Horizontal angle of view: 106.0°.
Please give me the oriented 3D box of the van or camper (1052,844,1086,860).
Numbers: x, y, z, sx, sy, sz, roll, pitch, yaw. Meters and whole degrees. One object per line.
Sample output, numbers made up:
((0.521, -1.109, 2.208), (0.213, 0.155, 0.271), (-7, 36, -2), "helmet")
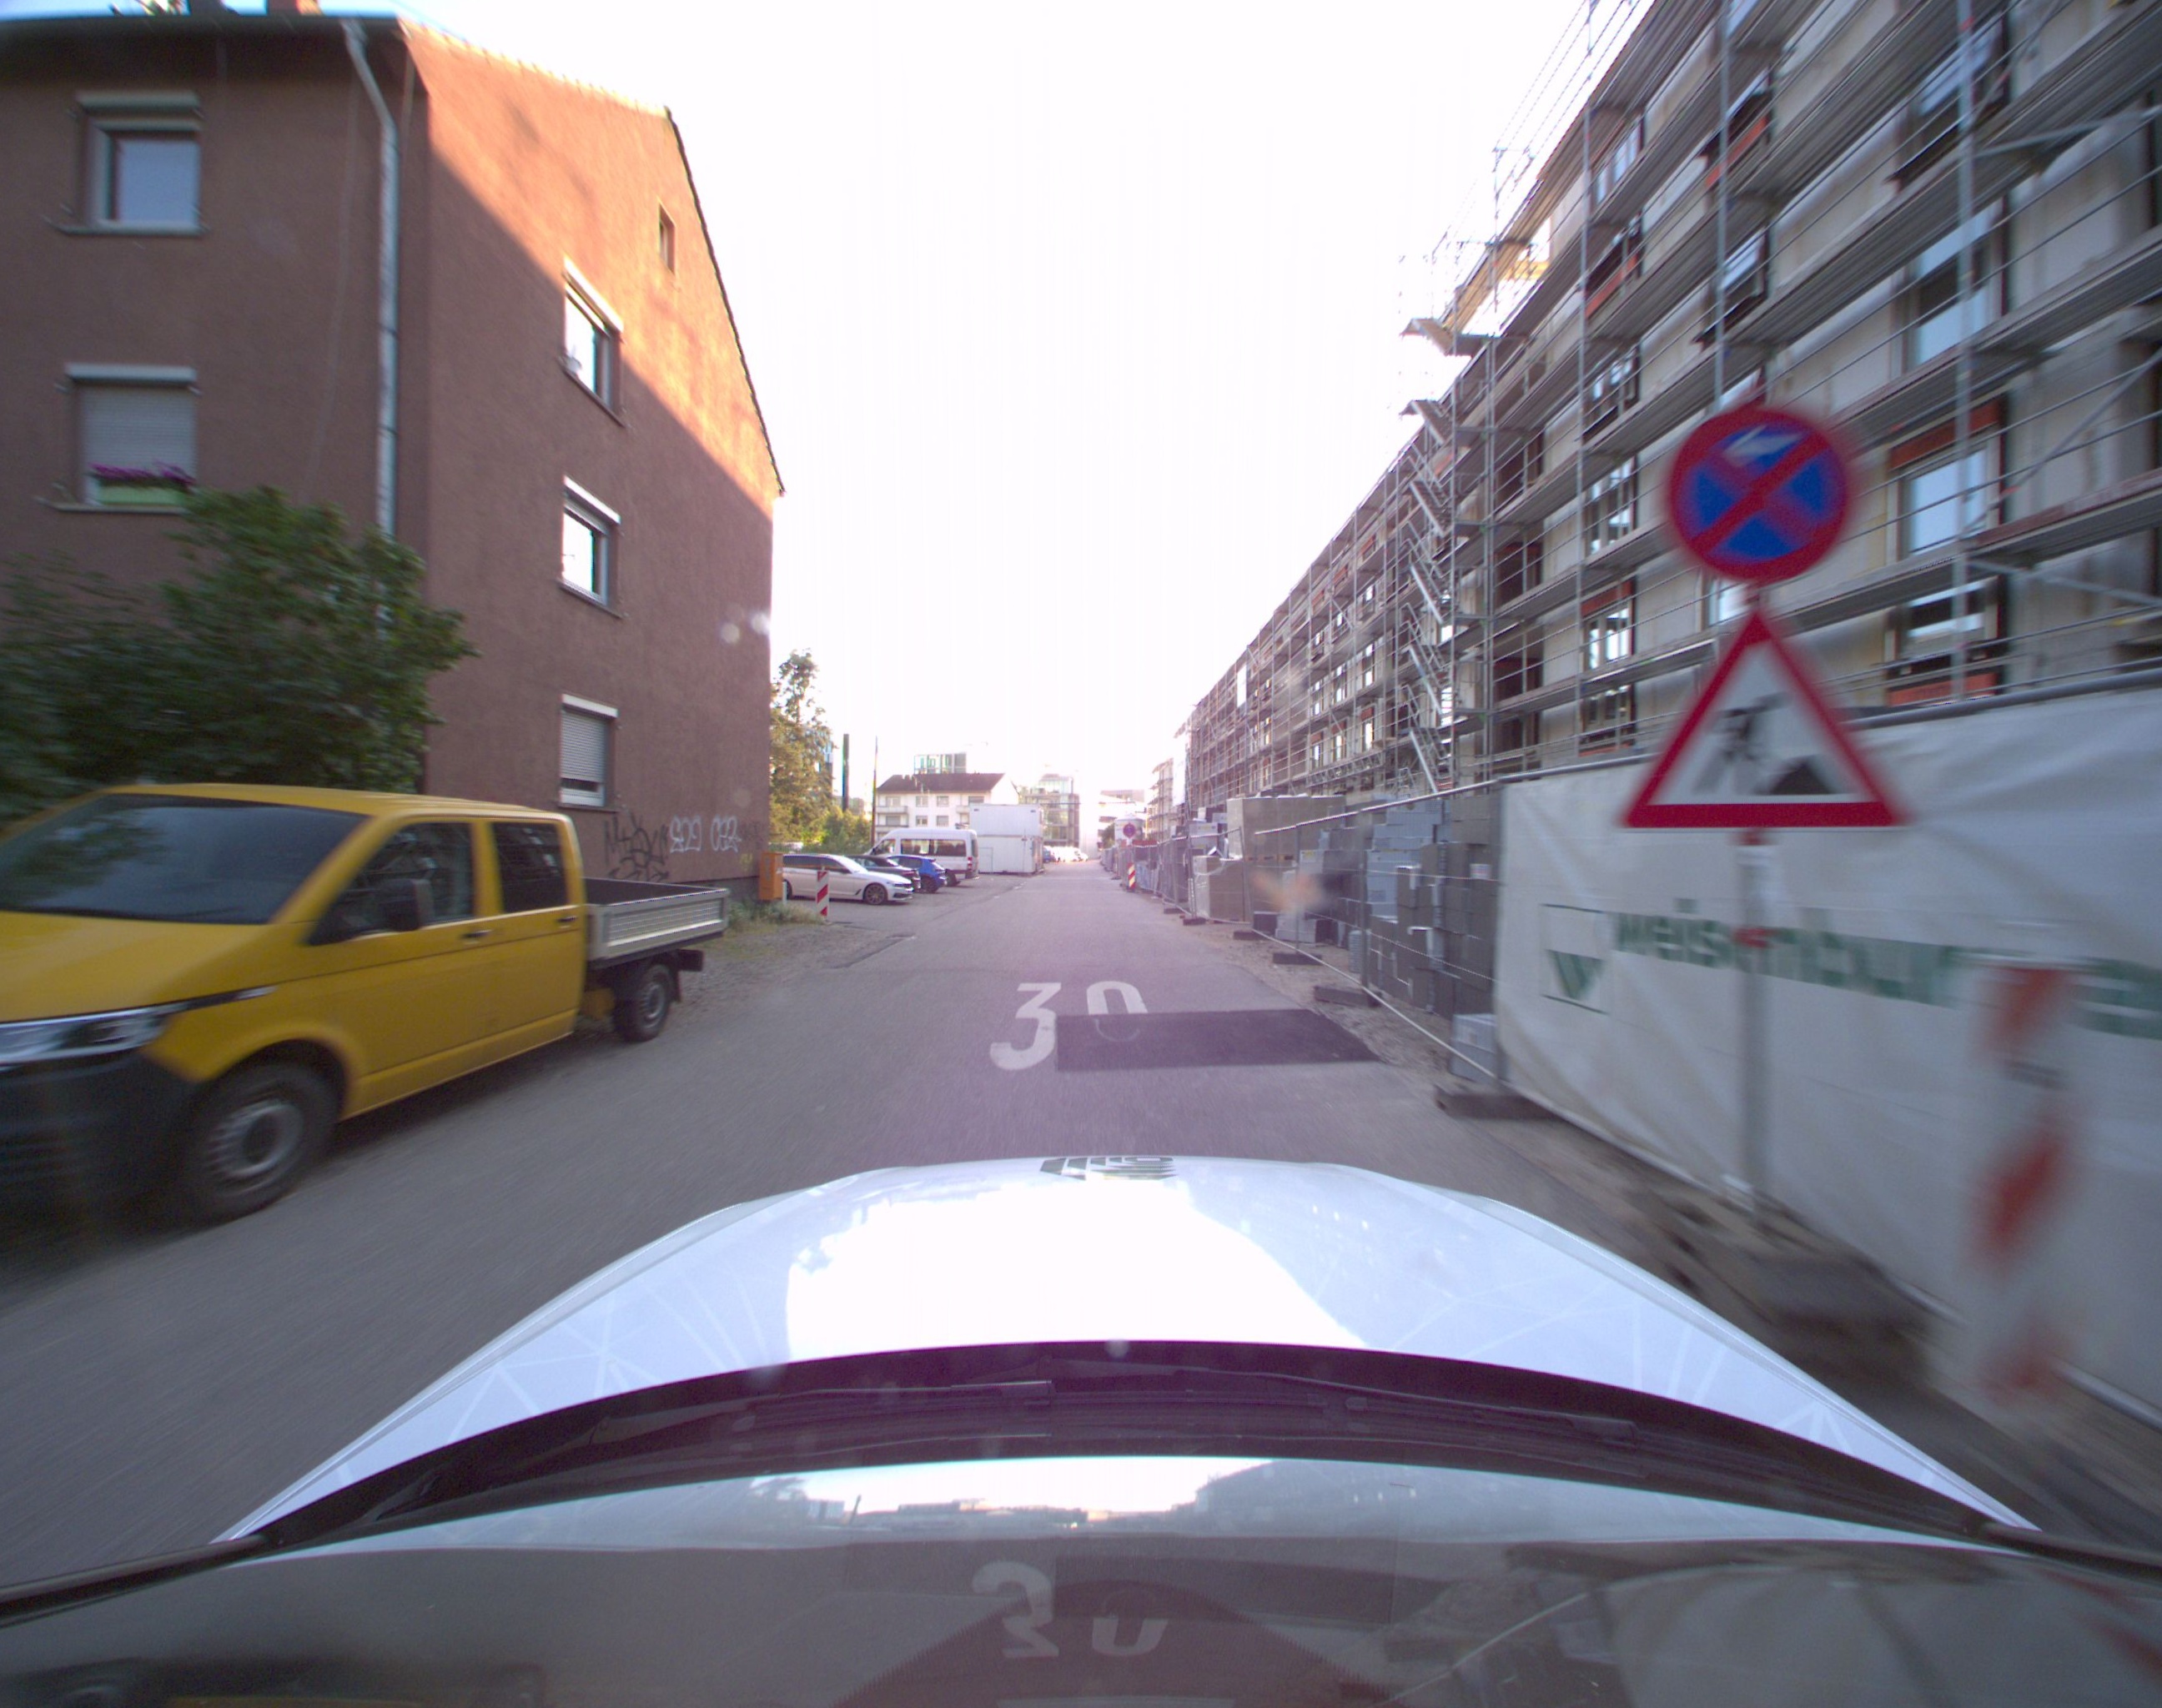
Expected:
((-2.443, -0.357, 162.428), (6.290, 2.979, 2.300), (1, 0, 12), "van or camper")

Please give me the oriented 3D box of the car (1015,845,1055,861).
((-7.313, -0.156, 129.532), (6.306, 2.651, 2.000), (0, 0, 0), "car")

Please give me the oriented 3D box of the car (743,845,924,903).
((-7.741, 0.605, 25.803), (4.975, 1.544, 2.117), (2, 0, 1), "car")

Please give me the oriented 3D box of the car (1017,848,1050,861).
((-6.751, 0.058, 115.470), (4.497, 1.868, 1.996), (0, 0, -6), "car")

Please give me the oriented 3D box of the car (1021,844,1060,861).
((-6.562, -0.231, 133.289), (6.306, 2.741, 2.000), (0, 0, 0), "car")

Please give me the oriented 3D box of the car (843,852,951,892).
((-7.133, 0.680, 31.912), (3.827, 1.429, 1.726), (1, 0, -3), "car")

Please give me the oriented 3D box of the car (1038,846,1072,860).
((-4.678, -0.218, 148.681), (5.885, 2.490, 2.006), (0, 0, 11), "car")

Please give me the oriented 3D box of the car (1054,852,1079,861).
((-2.762, 0.442, 156.743), (4.477, 1.648, 2.005), (0, 0, 9), "car")

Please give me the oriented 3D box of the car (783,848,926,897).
((-7.740, 0.617, 28.143), (4.407, 1.544, 1.725), (1, 0, -4), "car")

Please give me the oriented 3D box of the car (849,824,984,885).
((-7.549, 0.025, 37.786), (5.668, 2.626, 2.223), (1, 0, 1), "car")

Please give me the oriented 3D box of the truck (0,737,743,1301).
((-4.549, 0.539, 5.587), (2.028, 1.913, 5.660), (2, 0, 0), "truck")
